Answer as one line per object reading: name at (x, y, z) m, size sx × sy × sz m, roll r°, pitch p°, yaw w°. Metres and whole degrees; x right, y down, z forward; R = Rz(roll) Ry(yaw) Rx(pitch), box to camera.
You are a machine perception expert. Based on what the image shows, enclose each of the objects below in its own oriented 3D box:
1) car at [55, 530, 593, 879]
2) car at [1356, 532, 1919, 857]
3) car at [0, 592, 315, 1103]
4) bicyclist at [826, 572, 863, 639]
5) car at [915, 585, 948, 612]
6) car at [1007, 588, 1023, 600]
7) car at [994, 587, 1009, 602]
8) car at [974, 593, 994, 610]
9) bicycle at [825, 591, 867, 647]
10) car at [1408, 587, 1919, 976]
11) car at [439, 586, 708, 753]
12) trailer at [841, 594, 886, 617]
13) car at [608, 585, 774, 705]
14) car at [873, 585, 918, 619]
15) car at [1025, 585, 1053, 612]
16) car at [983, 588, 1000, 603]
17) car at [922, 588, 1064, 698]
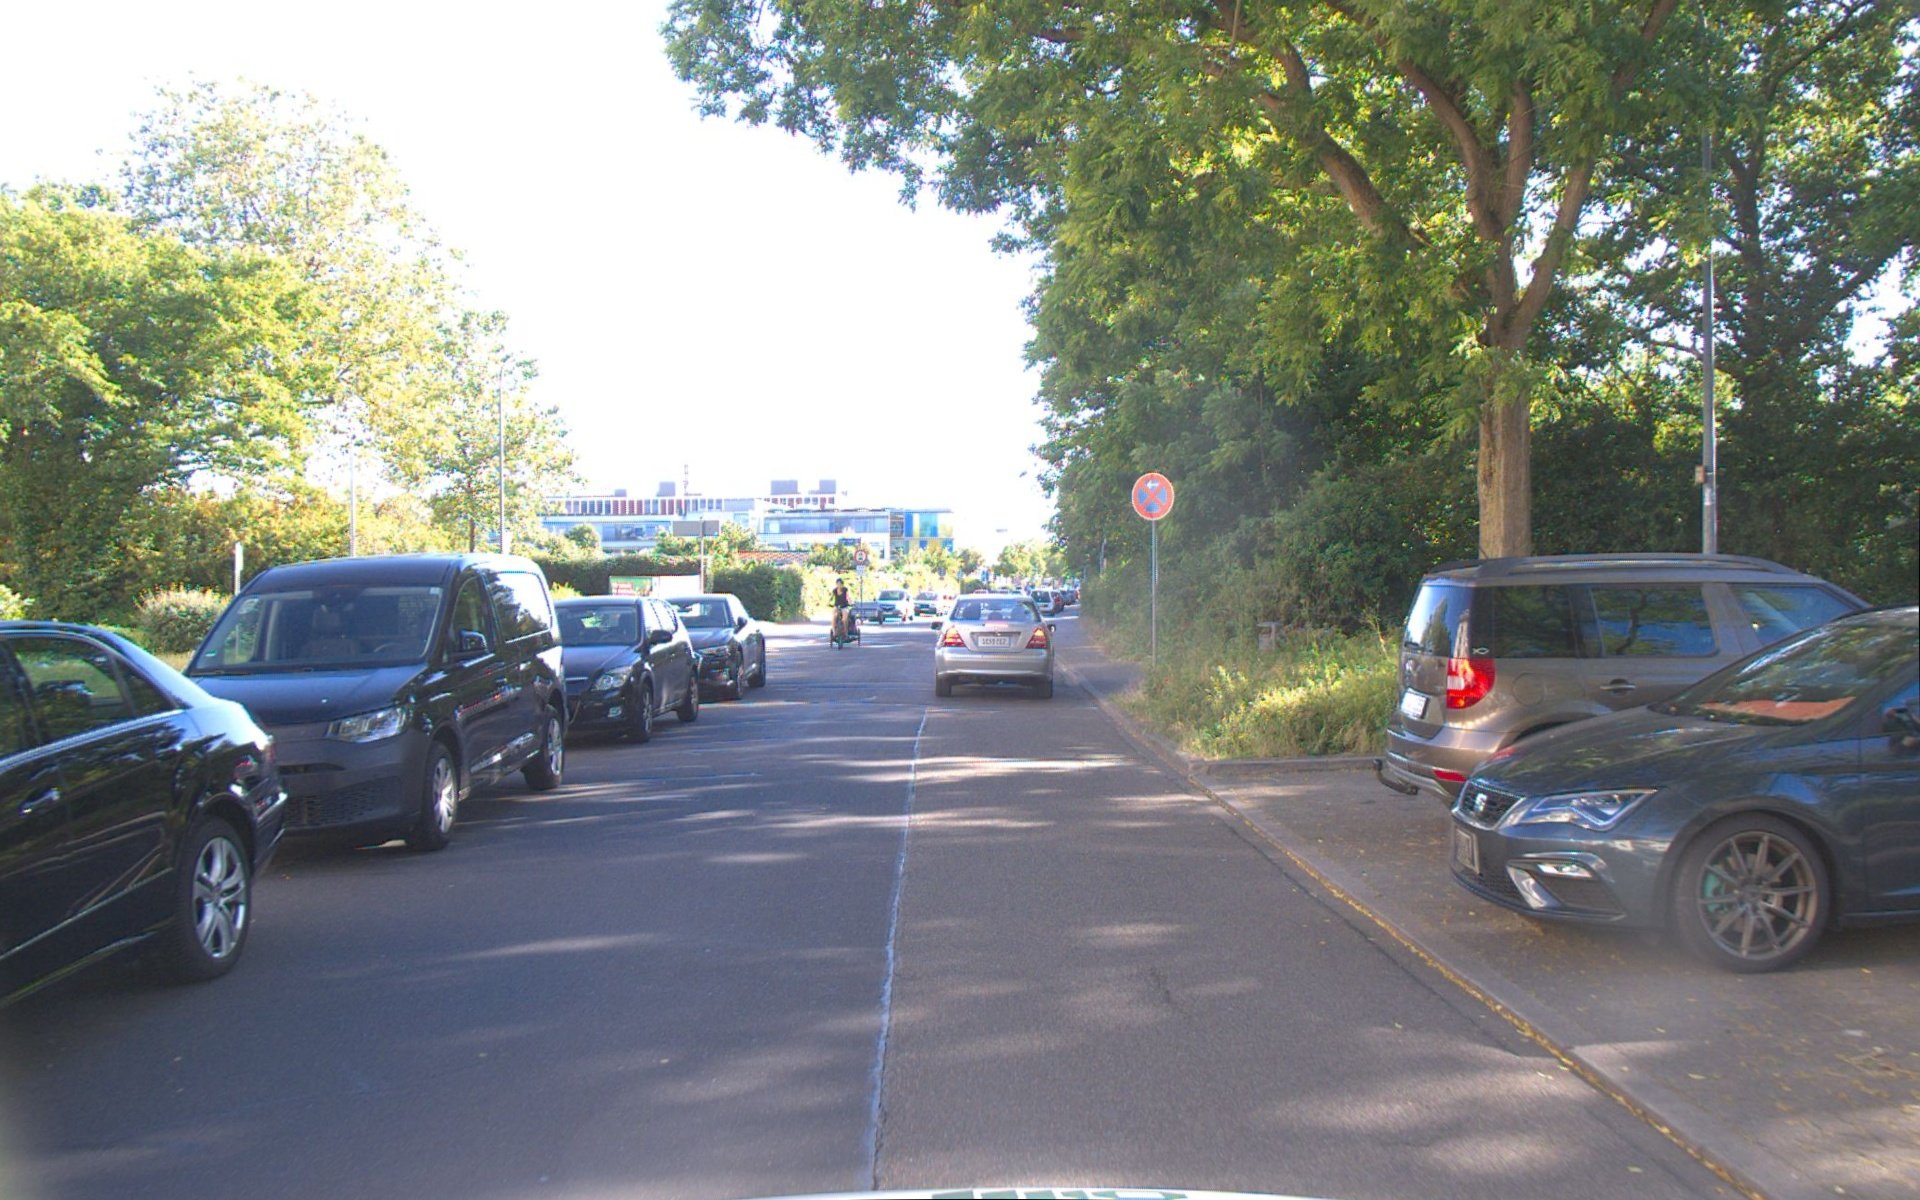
car at (-3.975, 0.547, 11.383) m, size 1.802 × 1.811 × 4.887 m, roll -2°, pitch 0°, yaw -1°
car at (4.661, 0.496, 10.063) m, size 4.063 × 1.725 × 1.775 m, roll -2°, pitch 1°, yaw 1°
car at (-3.788, 0.791, 5.124) m, size 1.803 × 1.507 × 4.573 m, roll -4°, pitch 0°, yaw -2°
bicyclist at (-2.957, 0.131, 42.393) m, size 0.827 × 1.687 × 1.064 m, roll -1°, pitch 0°, yaw 0°
car at (-1.721, -0.110, 100.784) m, size 1.609 × 1.583 × 4.420 m, roll -1°, pitch 0°, yaw 4°
car at (7.027, -0.738, 212.120) m, size 1.815 × 1.453 × 4.136 m, roll 1°, pitch 0°, yaw 4°
car at (4.595, -0.600, 182.764) m, size 1.527 × 1.521 × 3.760 m, roll -1°, pitch 0°, yaw 4°
car at (2.108, 0.134, 147.528) m, size 1.527 × 1.521 × 3.572 m, roll -1°, pitch 0°, yaw 4°
bicycle at (-2.940, 0.465, 42.965) m, size 0.833 × 1.394 × 3.221 m, roll -1°, pitch 0°, yaw 1°
car at (4.456, 0.679, 7.453) m, size 4.361 × 1.439 × 1.774 m, roll -2°, pitch 1°, yaw -2°
car at (-3.981, 0.647, 17.741) m, size 1.802 × 1.479 × 4.019 m, roll -2°, pitch 1°, yaw 1°
trailer at (-4.253, 0.248, 73.031) m, size 1.511 × 0.970 × 2.649 m, roll 1°, pitch 0°, yaw 7°
car at (-3.853, 0.584, 24.410) m, size 1.692 × 1.489 × 4.682 m, roll -2°, pitch 1°, yaw -1°
car at (-3.228, 0.083, 83.027) m, size 1.608 × 1.628 × 4.315 m, roll 1°, pitch 0°, yaw 6°
car at (4.811, -0.126, 100.470) m, size 1.523 × 1.565 × 3.558 m, roll 1°, pitch 0°, yaw 5°
car at (3.163, -0.447, 165.768) m, size 1.527 × 1.521 × 3.572 m, roll 2°, pitch 0°, yaw 4°
car at (0.400, 0.564, 24.200) m, size 1.703 × 1.478 × 3.997 m, roll 0°, pitch 0°, yaw -4°
